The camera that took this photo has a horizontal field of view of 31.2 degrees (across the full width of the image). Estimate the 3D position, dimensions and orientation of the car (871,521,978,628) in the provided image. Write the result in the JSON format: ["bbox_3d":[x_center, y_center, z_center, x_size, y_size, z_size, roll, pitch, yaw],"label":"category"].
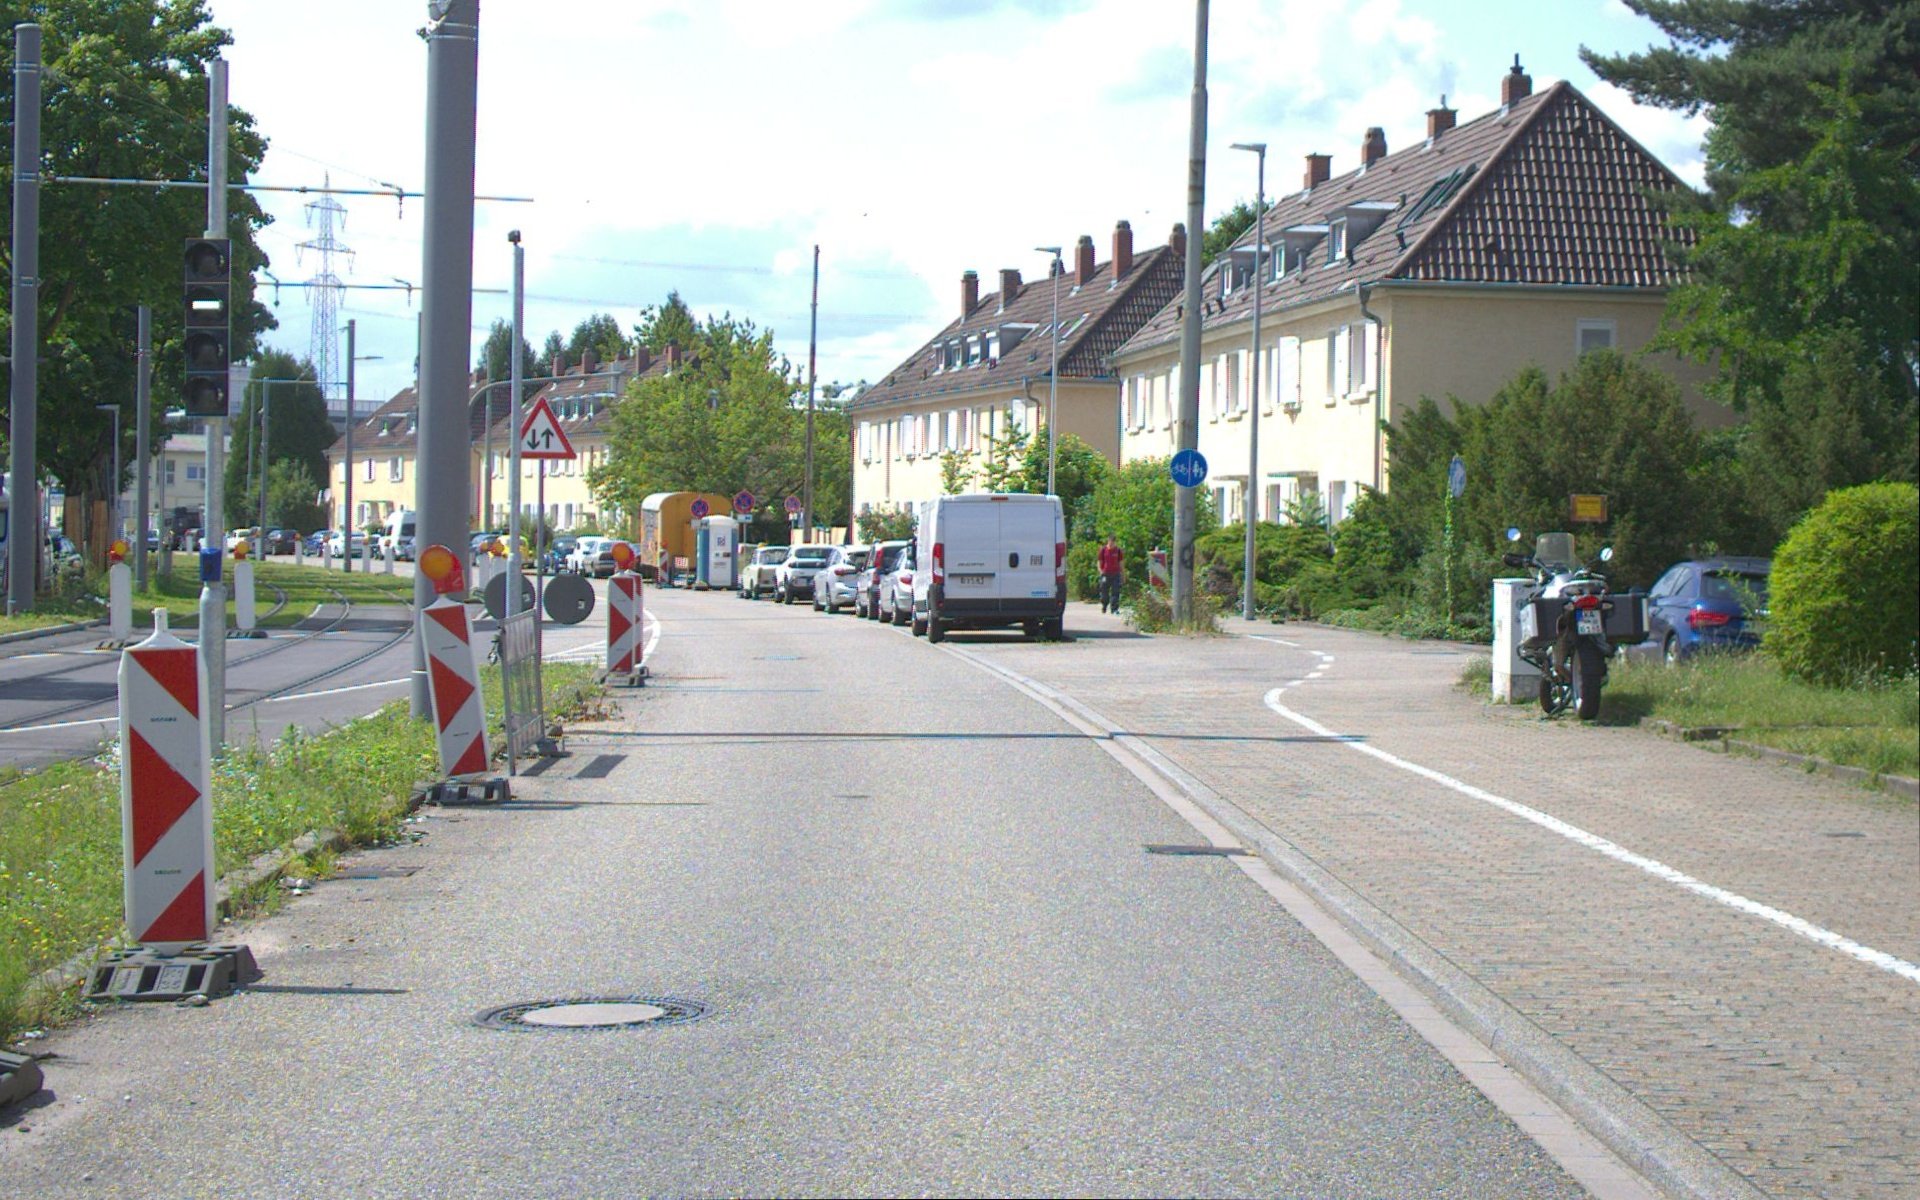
[{"bbox_3d":[-0.681,-0.490,63.082,1.567,1.891,3.790,1,1,-6],"label":"car"}]

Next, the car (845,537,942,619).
[{"bbox_3d":[-1.353,-0.460,68.381,1.567,1.546,3.790,1,1,-6],"label":"car"}]

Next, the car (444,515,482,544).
[{"bbox_3d":[-23.201,-3.283,160.469,1.257,1.346,2.666,1,1,-19],"label":"car"}]

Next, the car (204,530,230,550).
[{"bbox_3d":[-45.922,-3.692,212.452,1.257,1.182,2.666,1,1,-19],"label":"car"}]

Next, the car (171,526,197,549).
[{"bbox_3d":[-50.065,-4.016,221.679,1.257,1.421,2.666,1,1,-21],"label":"car"}]

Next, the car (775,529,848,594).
[{"bbox_3d":[-3.711,-0.975,85.625,1.567,1.546,3.479,1,1,-6],"label":"car"}]

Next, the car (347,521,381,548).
[{"bbox_3d":[-31.836,-3.510,183.506,1.257,1.421,2.666,1,1,-21],"label":"car"}]

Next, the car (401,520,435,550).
[{"bbox_3d":[-26.590,-3.198,168.627,1.165,1.421,2.666,1,1,-20],"label":"car"}]

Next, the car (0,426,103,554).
[{"bbox_3d":[-17.969,-2.125,66.384,2.406,2.362,4.881,1,2,-10],"label":"car"}]

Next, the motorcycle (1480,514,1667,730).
[{"bbox_3d":[4.848,0.149,27.322,1.066,1.630,2.084,1,1,-1],"label":"motorcycle"}]

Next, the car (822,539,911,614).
[{"bbox_3d":[-2.031,-0.528,73.870,1.567,1.546,3.790,1,1,-6],"label":"car"}]

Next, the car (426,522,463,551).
[{"bbox_3d":[-24.645,-3.029,164.358,1.257,1.346,2.666,1,1,-19],"label":"car"}]

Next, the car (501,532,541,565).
[{"bbox_3d":[-19.083,-2.236,149.414,1.257,1.421,2.666,1,1,-18],"label":"car"}]

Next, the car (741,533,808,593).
[{"bbox_3d":[-4.981,-1.010,92.026,1.567,1.546,3.479,1,1,-6],"label":"car"}]

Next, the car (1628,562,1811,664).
[{"bbox_3d":[8.155,0.119,37.100,1.311,1.026,2.769,1,1,-1],"label":"car"}]

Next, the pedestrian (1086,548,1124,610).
[{"bbox_3d":[2.952,-0.429,70.216,0.632,1.250,0.727,1,1,-8],"label":"pedestrian"}]

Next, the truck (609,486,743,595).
[{"bbox_3d":[-9.653,-2.017,115.792,2.639,3.482,9.441,1,1,-16],"label":"truck"}]

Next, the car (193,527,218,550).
[{"bbox_3d":[-47.583,-3.889,216.781,1.257,1.421,2.666,1,1,-19],"label":"car"}]

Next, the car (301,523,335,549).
[{"bbox_3d":[-35.598,-3.554,190.544,1.257,1.421,2.666,1,1,-23],"label":"car"}]

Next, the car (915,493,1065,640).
[{"bbox_3d":[0.414,-0.543,53.442,2.065,2.142,4.879,1,1,-2],"label":"car"}]

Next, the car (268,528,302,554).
[{"bbox_3d":[-38.787,-3.403,197.547,1.257,1.421,2.666,0,1,-27],"label":"car"}]

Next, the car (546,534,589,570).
[{"bbox_3d":[-15.690,-1.932,137.400,1.257,1.421,2.666,1,1,-16],"label":"car"}]

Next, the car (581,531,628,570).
[{"bbox_3d":[-13.240,-1.837,128.070,1.257,1.421,2.666,1,1,-16],"label":"car"}]

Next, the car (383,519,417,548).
[{"bbox_3d":[-28.150,-3.335,172.830,1.165,1.421,2.666,1,1,-20],"label":"car"}]
